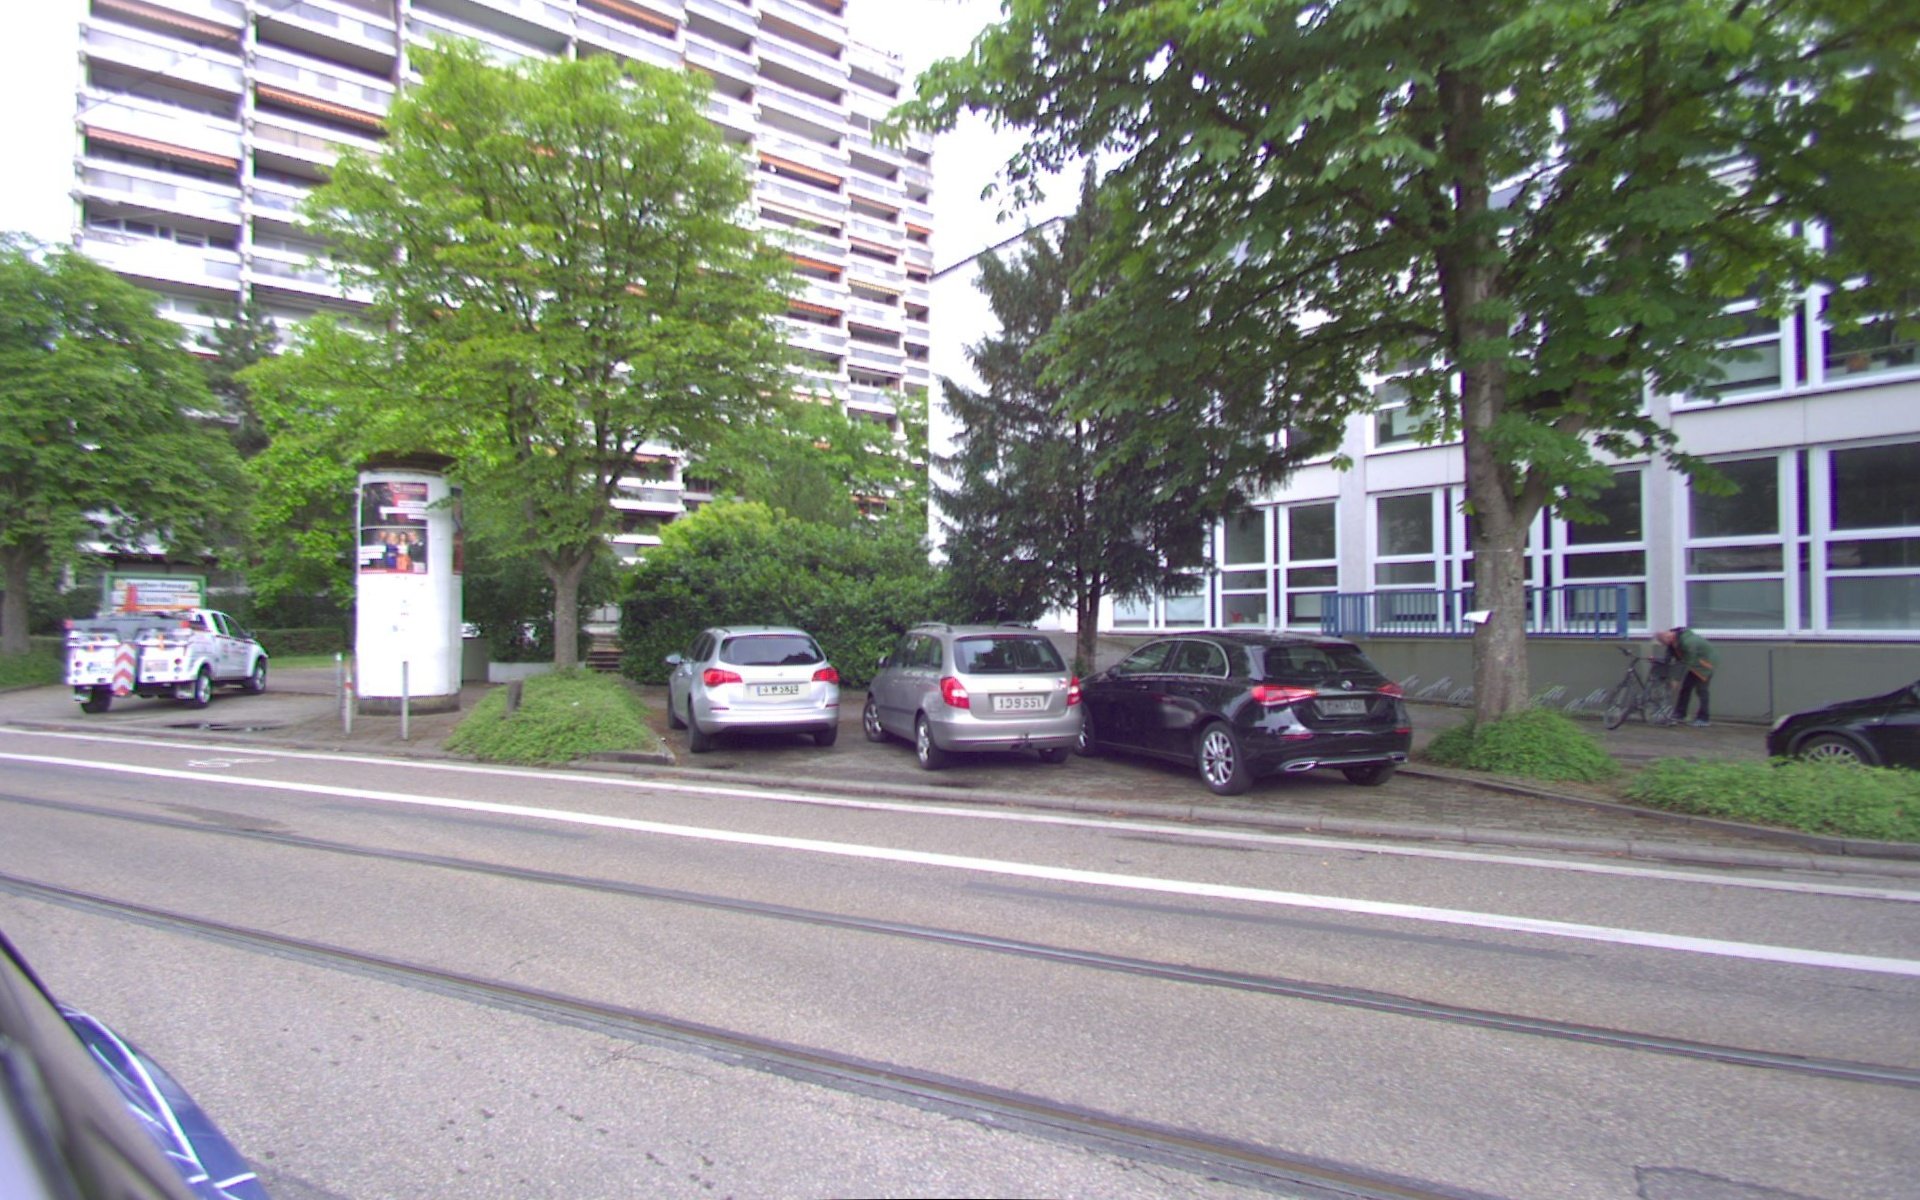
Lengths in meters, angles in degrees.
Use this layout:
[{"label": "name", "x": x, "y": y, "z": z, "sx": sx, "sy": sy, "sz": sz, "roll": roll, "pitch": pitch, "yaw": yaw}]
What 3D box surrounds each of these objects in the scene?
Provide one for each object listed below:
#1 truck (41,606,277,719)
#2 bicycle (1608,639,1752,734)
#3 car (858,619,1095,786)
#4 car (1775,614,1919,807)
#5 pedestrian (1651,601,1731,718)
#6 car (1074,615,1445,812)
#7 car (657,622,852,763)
[{"label": "truck", "x": -15.157, "y": 1.092, "z": 19.553, "sx": 1.966, "sy": 1.862, "sz": 5.080, "roll": 0, "pitch": -1, "yaw": -19}, {"label": "bicycle", "x": 10.186, "y": 1.198, "z": 14.359, "sx": 0.400, "sy": 1.278, "sz": 1.597, "roll": 2, "pitch": -3, "yaw": -44}, {"label": "car", "x": 0.011, "y": 0.999, "z": 11.498, "sx": 1.546, "sy": 1.535, "sz": 3.663, "roll": -1, "pitch": -1, "yaw": -18}, {"label": "car", "x": 8.816, "y": 0.890, "z": 7.706, "sx": 1.671, "sy": 1.535, "sz": 3.717, "roll": -1, "pitch": -1, "yaw": -18}, {"label": "pedestrian", "x": 10.633, "y": 0.837, "z": 14.733, "sx": 0.722, "sy": 1.623, "sz": 0.757, "roll": 0, "pitch": 1, "yaw": -36}, {"label": "car", "x": 2.691, "y": 0.926, "z": 10.022, "sx": 1.671, "sy": 1.535, "sz": 3.717, "roll": -1, "pitch": -1, "yaw": -18}, {"label": "car", "x": -2.872, "y": 1.051, "z": 13.317, "sx": 1.772, "sy": 1.476, "sz": 4.447, "roll": 0, "pitch": -1, "yaw": -21}]
